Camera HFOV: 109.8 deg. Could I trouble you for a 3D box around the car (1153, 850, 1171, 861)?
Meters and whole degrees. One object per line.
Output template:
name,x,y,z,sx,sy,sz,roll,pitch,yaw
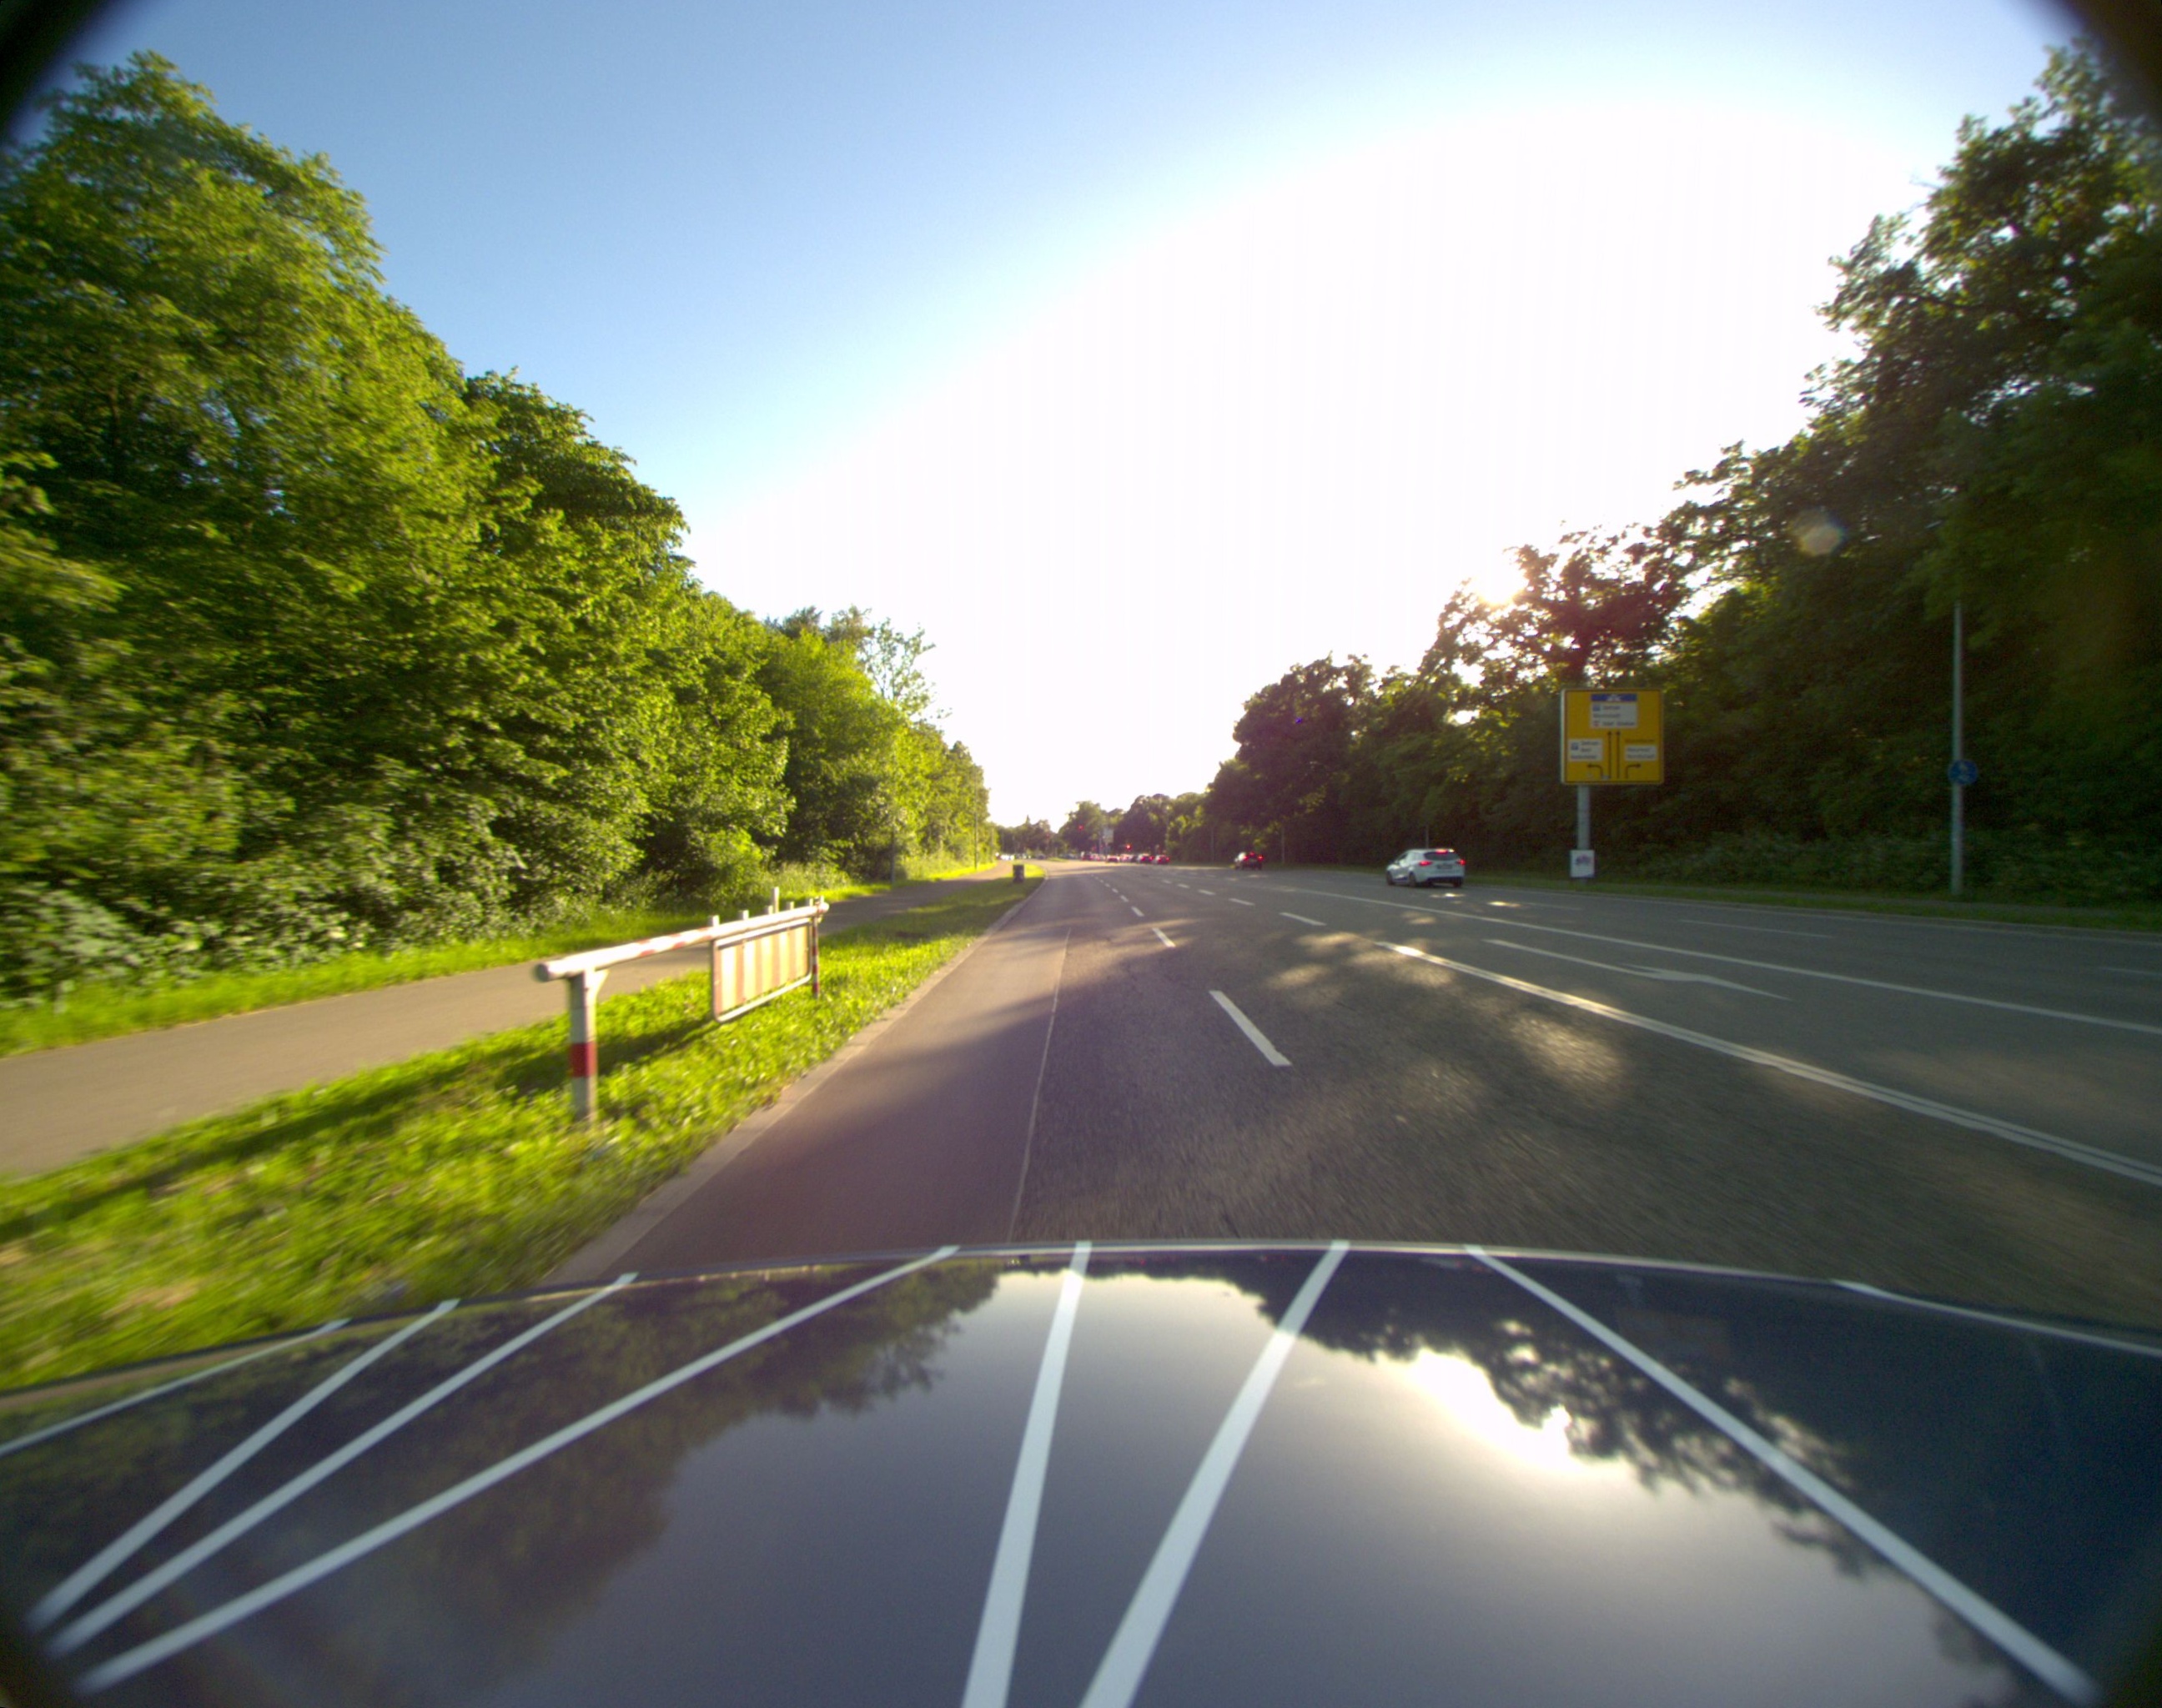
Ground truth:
car,12.399,0.230,115.940,1.999,1.555,4.336,0,0,-4

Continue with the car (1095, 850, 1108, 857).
car,4.205,-0.120,158.234,2.000,1.442,4.644,1,0,-9

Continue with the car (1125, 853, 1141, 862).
car,9.402,0.654,137.747,2.000,1.555,4.645,2,0,-6

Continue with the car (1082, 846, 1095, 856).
car,1.553,-0.550,155.907,2.000,1.950,4.644,1,0,-9

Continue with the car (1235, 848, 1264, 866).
car,15.004,0.208,67.853,1.829,1.536,4.257,-1,0,3

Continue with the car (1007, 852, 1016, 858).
car,-19.705,0.296,215.682,2.000,1.510,3.995,-1,1,-11

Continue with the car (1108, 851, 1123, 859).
car,5.456,0.084,120.579,1.749,1.227,4.671,0,0,-4

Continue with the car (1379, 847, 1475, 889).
car,13.363,0.486,29.609,1.829,1.495,4.306,-1,0,1

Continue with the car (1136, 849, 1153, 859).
car,10.881,-0.006,129.757,2.000,1.627,4.841,0,0,-6
